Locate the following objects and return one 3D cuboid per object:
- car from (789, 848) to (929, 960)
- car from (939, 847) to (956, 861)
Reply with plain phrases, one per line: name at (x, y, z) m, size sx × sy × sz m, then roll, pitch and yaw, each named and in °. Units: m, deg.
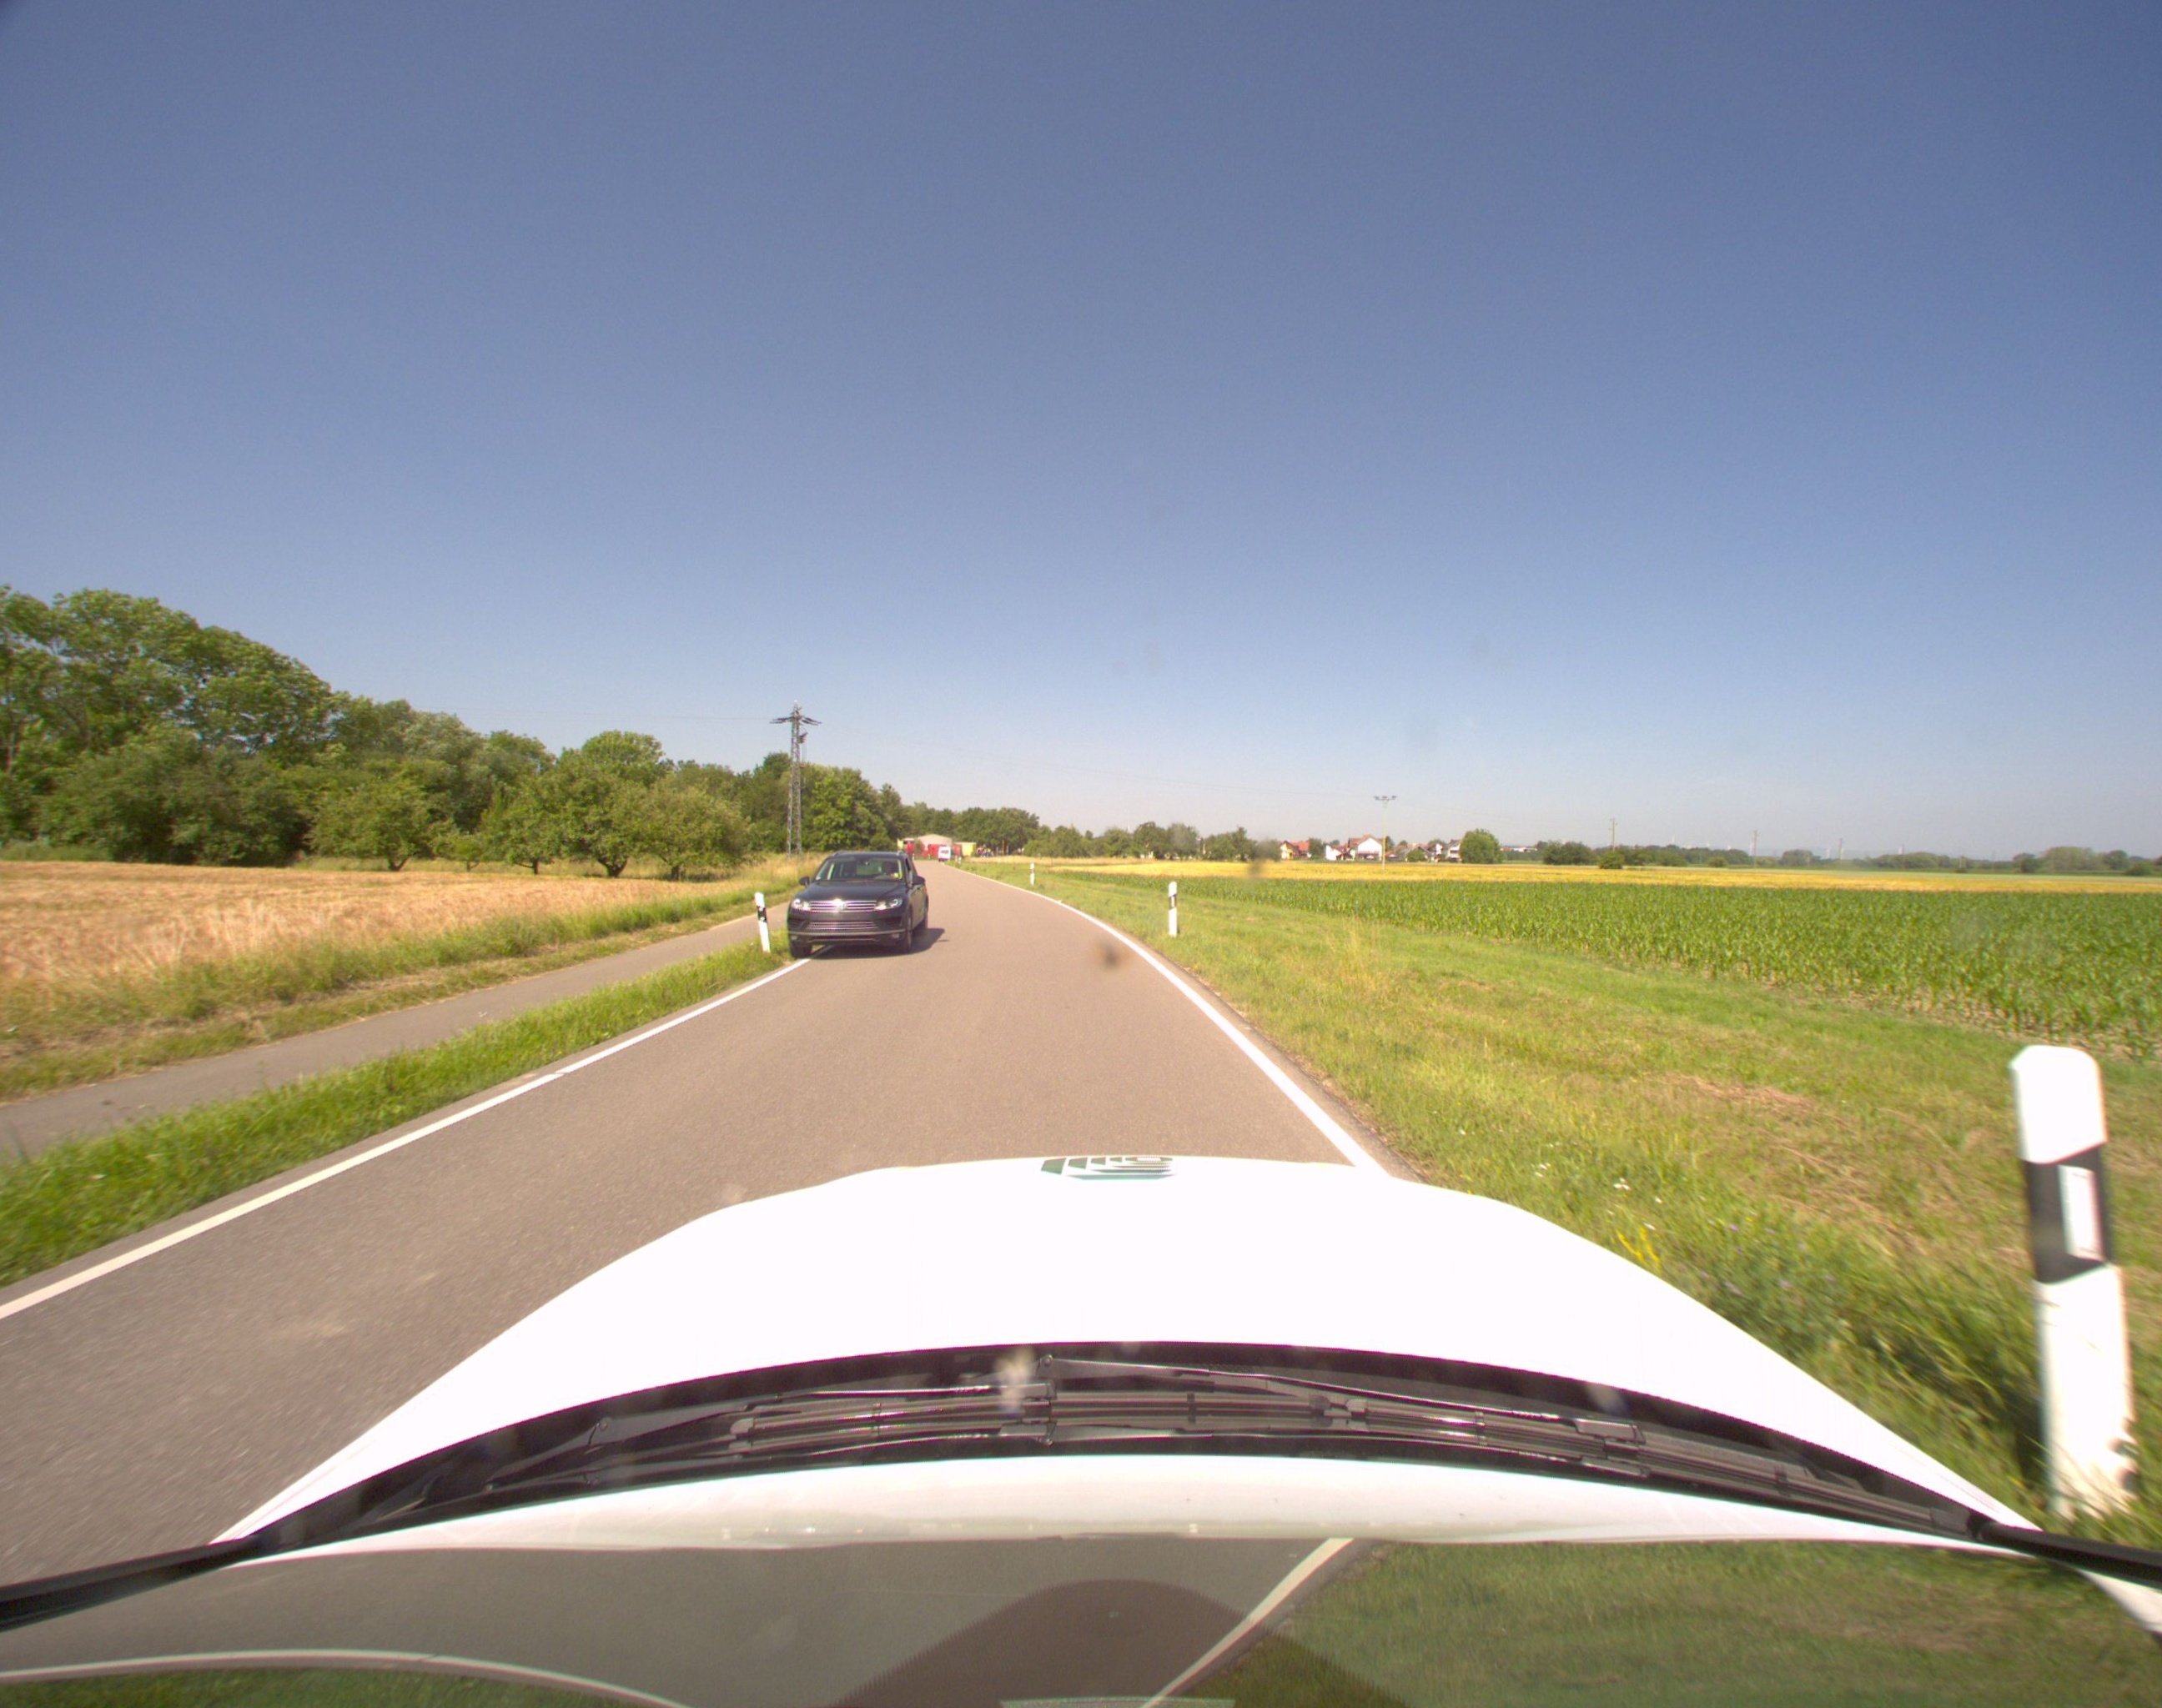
car at (-3.831, 0.765, 14.702) m, size 1.885 × 1.714 × 4.004 m, roll 0°, pitch 0°, yaw -8°
car at (-21.970, 0.033, 134.379) m, size 1.987 × 2.266 × 4.725 m, roll 1°, pitch 0°, yaw 0°
